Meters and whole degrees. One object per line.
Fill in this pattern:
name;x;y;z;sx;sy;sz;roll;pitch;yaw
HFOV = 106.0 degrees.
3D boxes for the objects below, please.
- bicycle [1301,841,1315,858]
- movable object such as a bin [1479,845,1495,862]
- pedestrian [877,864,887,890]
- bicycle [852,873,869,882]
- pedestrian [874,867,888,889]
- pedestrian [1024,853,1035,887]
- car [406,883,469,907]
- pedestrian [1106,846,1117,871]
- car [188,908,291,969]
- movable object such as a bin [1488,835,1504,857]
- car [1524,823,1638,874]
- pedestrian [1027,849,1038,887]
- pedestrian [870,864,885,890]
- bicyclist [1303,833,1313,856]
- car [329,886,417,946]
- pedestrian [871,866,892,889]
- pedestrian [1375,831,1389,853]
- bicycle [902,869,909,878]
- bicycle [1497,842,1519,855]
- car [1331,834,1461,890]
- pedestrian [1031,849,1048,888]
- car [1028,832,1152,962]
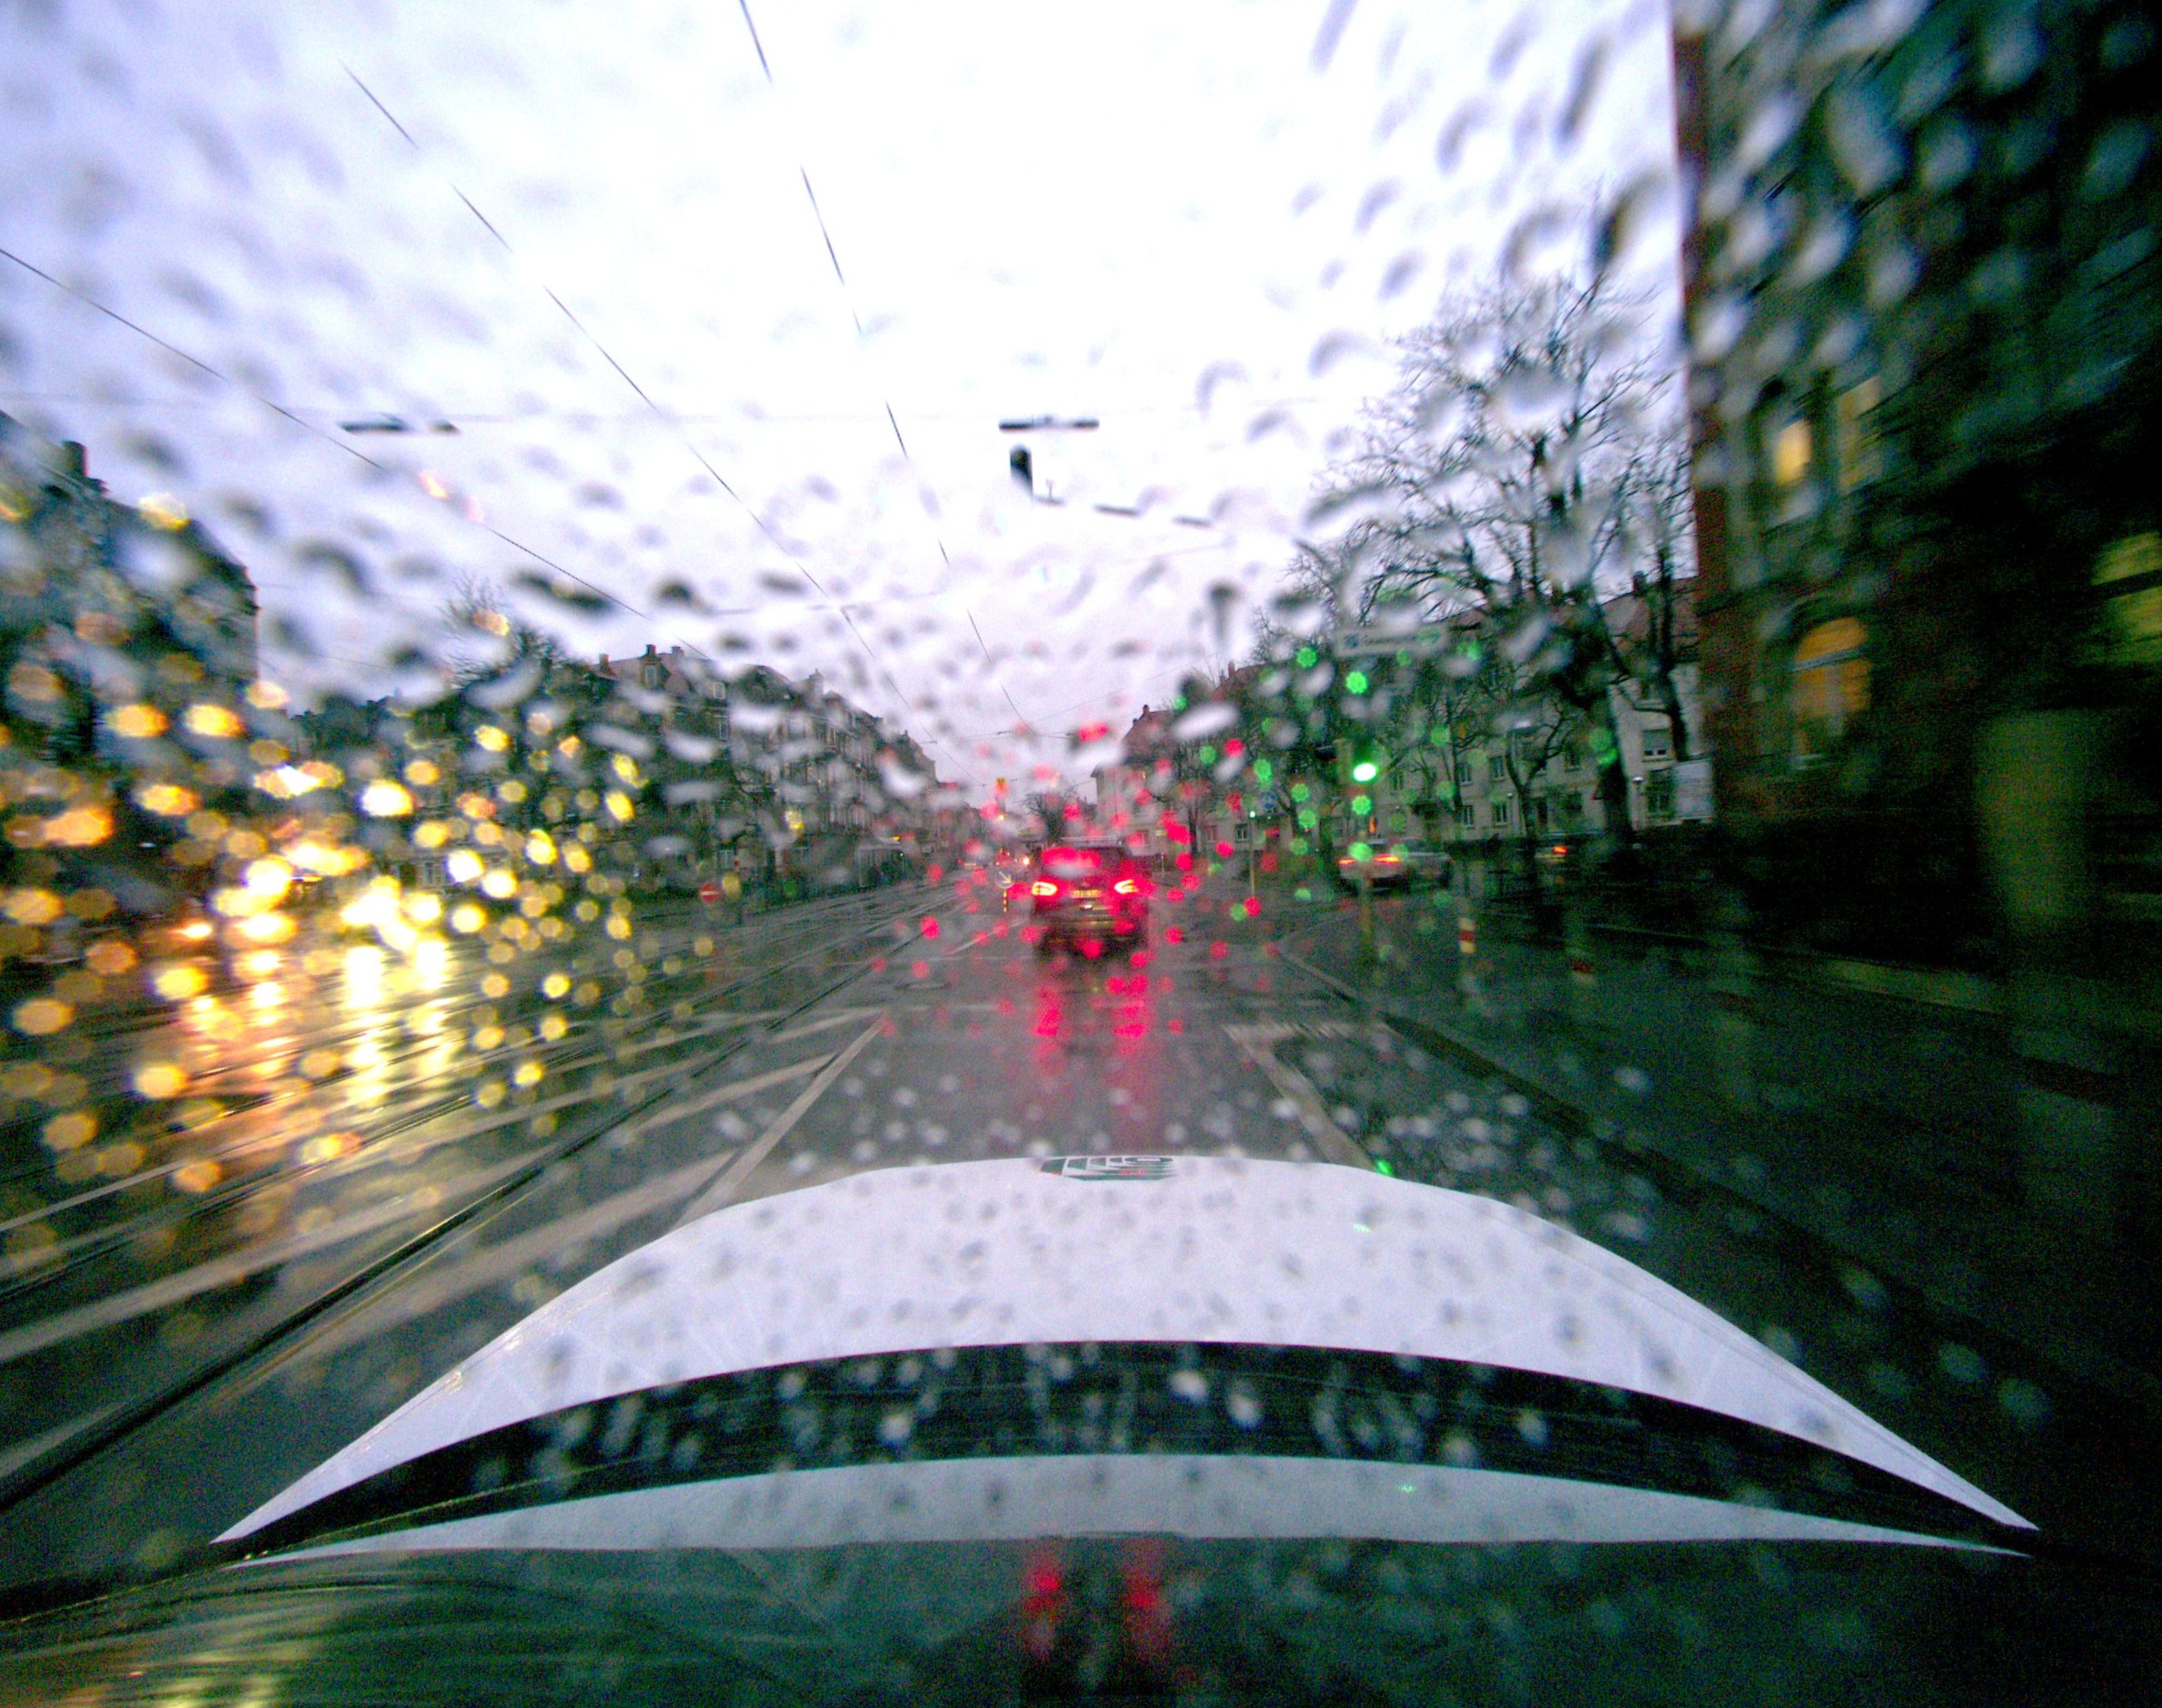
bicycle;18.685;-0.366;66.980;0.465;1.291;1.912;-3;0;-3
movable object such as a bin;24.220;-0.021;48.564;0.528;0.980;0.647;-3;0;-15
pedestrian;-10.647;1.214;43.544;0.472;1.403;0.453;0;-1;-3
bicycle;-21.134;2.276;78.065;0.395;0.759;1.823;-3;0;33
pedestrian;-11.089;1.333;45.224;0.651;1.218;0.516;0;-1;-3
pedestrian;-2.660;0.838;42.365;0.556;1.741;0.570;0;-1;-2
car;-52.908;3.367;66.974;3.956;1.706;2.009;-3;0;16
pedestrian;2.358;0.337;62.916;0.711;1.917;0.690;0;-1;8
car;-25.815;2.532;25.105;1.621;1.472;3.783;0;-1;-37
movable object such as a bin;24.428;-0.461;47.933;0.528;1.228;0.647;-3;0;-15
car;18.391;-0.181;29.908;4.355;1.728;1.790;0;-1;-32
pedestrian;-2.585;0.729;43.386;0.556;1.987;0.570;0;-1;-2
pedestrian;-10.779;1.211;43.082;0.682;1.403;0.577;0;-1;-3
bicyclist;18.651;-0.756;66.944;0.465;1.886;0.679;-3;0;-3
car;-22.229;1.861;25.577;1.948;1.583;4.291;0;-1;-42
pedestrian;-10.935;1.309;44.697;1.053;1.254;0.506;0;-1;-4
pedestrian;23.236;-0.930;62.848;0.688;1.660;0.709;-3;0;-22
bicycle;-18.984;2.101;88.208;0.415;1.007;1.848;-2;0;-2
bicycle;25.870;-0.326;49.396;0.338;0.766;1.586;-3;0;-5
car;9.532;0.233;24.441;1.876;1.510;4.781;-1;-1;45
pedestrian;-2.085;0.734;40.921;0.851;1.956;0.570;0;-1;-3
car;0.096;0.632;13.807;1.797;1.871;4.016;0;0;-1
